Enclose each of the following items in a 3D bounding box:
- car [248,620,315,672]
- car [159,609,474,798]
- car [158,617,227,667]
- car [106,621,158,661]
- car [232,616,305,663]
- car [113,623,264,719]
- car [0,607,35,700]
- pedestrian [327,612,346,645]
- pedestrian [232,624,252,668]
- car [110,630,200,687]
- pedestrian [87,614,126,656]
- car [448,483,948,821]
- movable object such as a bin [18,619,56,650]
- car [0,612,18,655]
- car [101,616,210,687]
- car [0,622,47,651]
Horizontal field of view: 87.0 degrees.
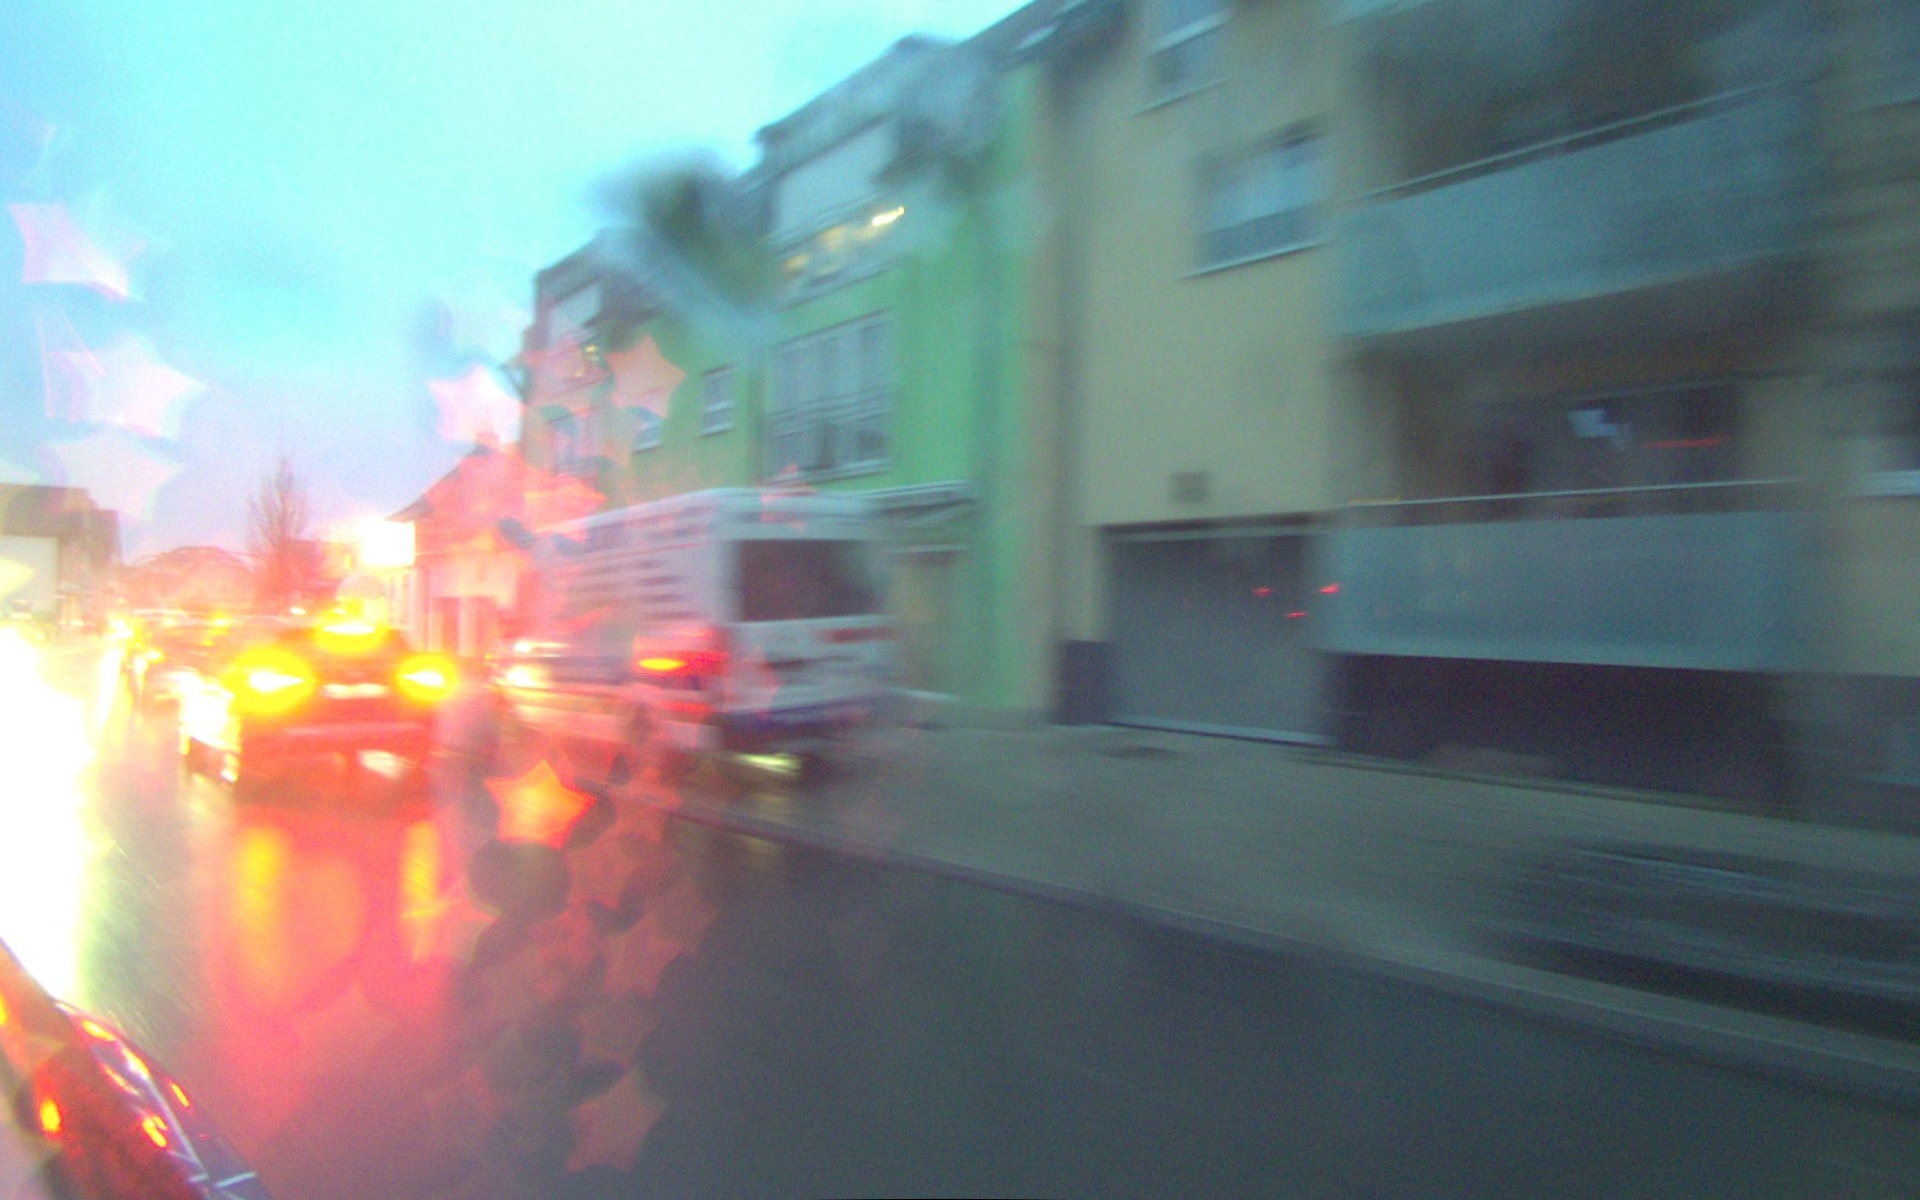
[{"bbox_3d":[-24.578,1.589,36.592,1.855,1.723,4.723,0,-1,-36],"label":"car"},{"bbox_3d":[-6.897,0.933,10.657,1.895,1.576,4.229,4,-3,-44],"label":"car"},{"bbox_3d":[-29.289,1.613,38.663,1.967,1.719,4.977,-1,-2,-37],"label":"car"},{"bbox_3d":[-43.755,2.132,53.541,1.968,2.029,4.008,0,-1,-38],"label":"car"},{"bbox_3d":[-28.392,1.598,41.490,2.059,1.806,5.032,1,-2,-39],"label":"car"},{"bbox_3d":[-14.419,1.234,18.817,1.969,1.567,4.264,3,-3,-40],"label":"car"},{"bbox_3d":[-19.894,1.028,20.058,1.968,1.743,4.008,0,-1,-38],"label":"car"},{"bbox_3d":[-32.444,1.486,52.652,0.815,1.671,1.100,0,-1,-34],"label":"pedestrian"},{"bbox_3d":[-26.257,1.683,37.010,0.521,1.597,0.577,2,-3,-37],"label":"pedestrian"},{"bbox_3d":[-23.993,1.794,30.147,1.927,1.559,4.423,3,-6,-39],"label":"car"},{"bbox_3d":[-38.850,1.580,46.069,1.001,1.890,0.940,0,-2,8],"label":"pedestrian"},{"bbox_3d":[-3.281,0.412,11.065,2.455,2.579,6.770,0,0,-42],"label":"car"},{"bbox_3d":[-52.865,1.979,57.977,1.375,1.656,1.264,4,-4,-38],"label":"movable object such as a bin"},{"bbox_3d":[-48.134,1.521,48.354,4.033,2.065,2.006,3,-3,-27],"label":"car"},{"bbox_3d":[-19.334,1.214,24.492,1.833,1.567,4.267,2,-3,-36],"label":"car"},{"bbox_3d":[-52.591,1.970,55.089,3.932,1.497,1.918,2,-1,-32],"label":"car"}]
